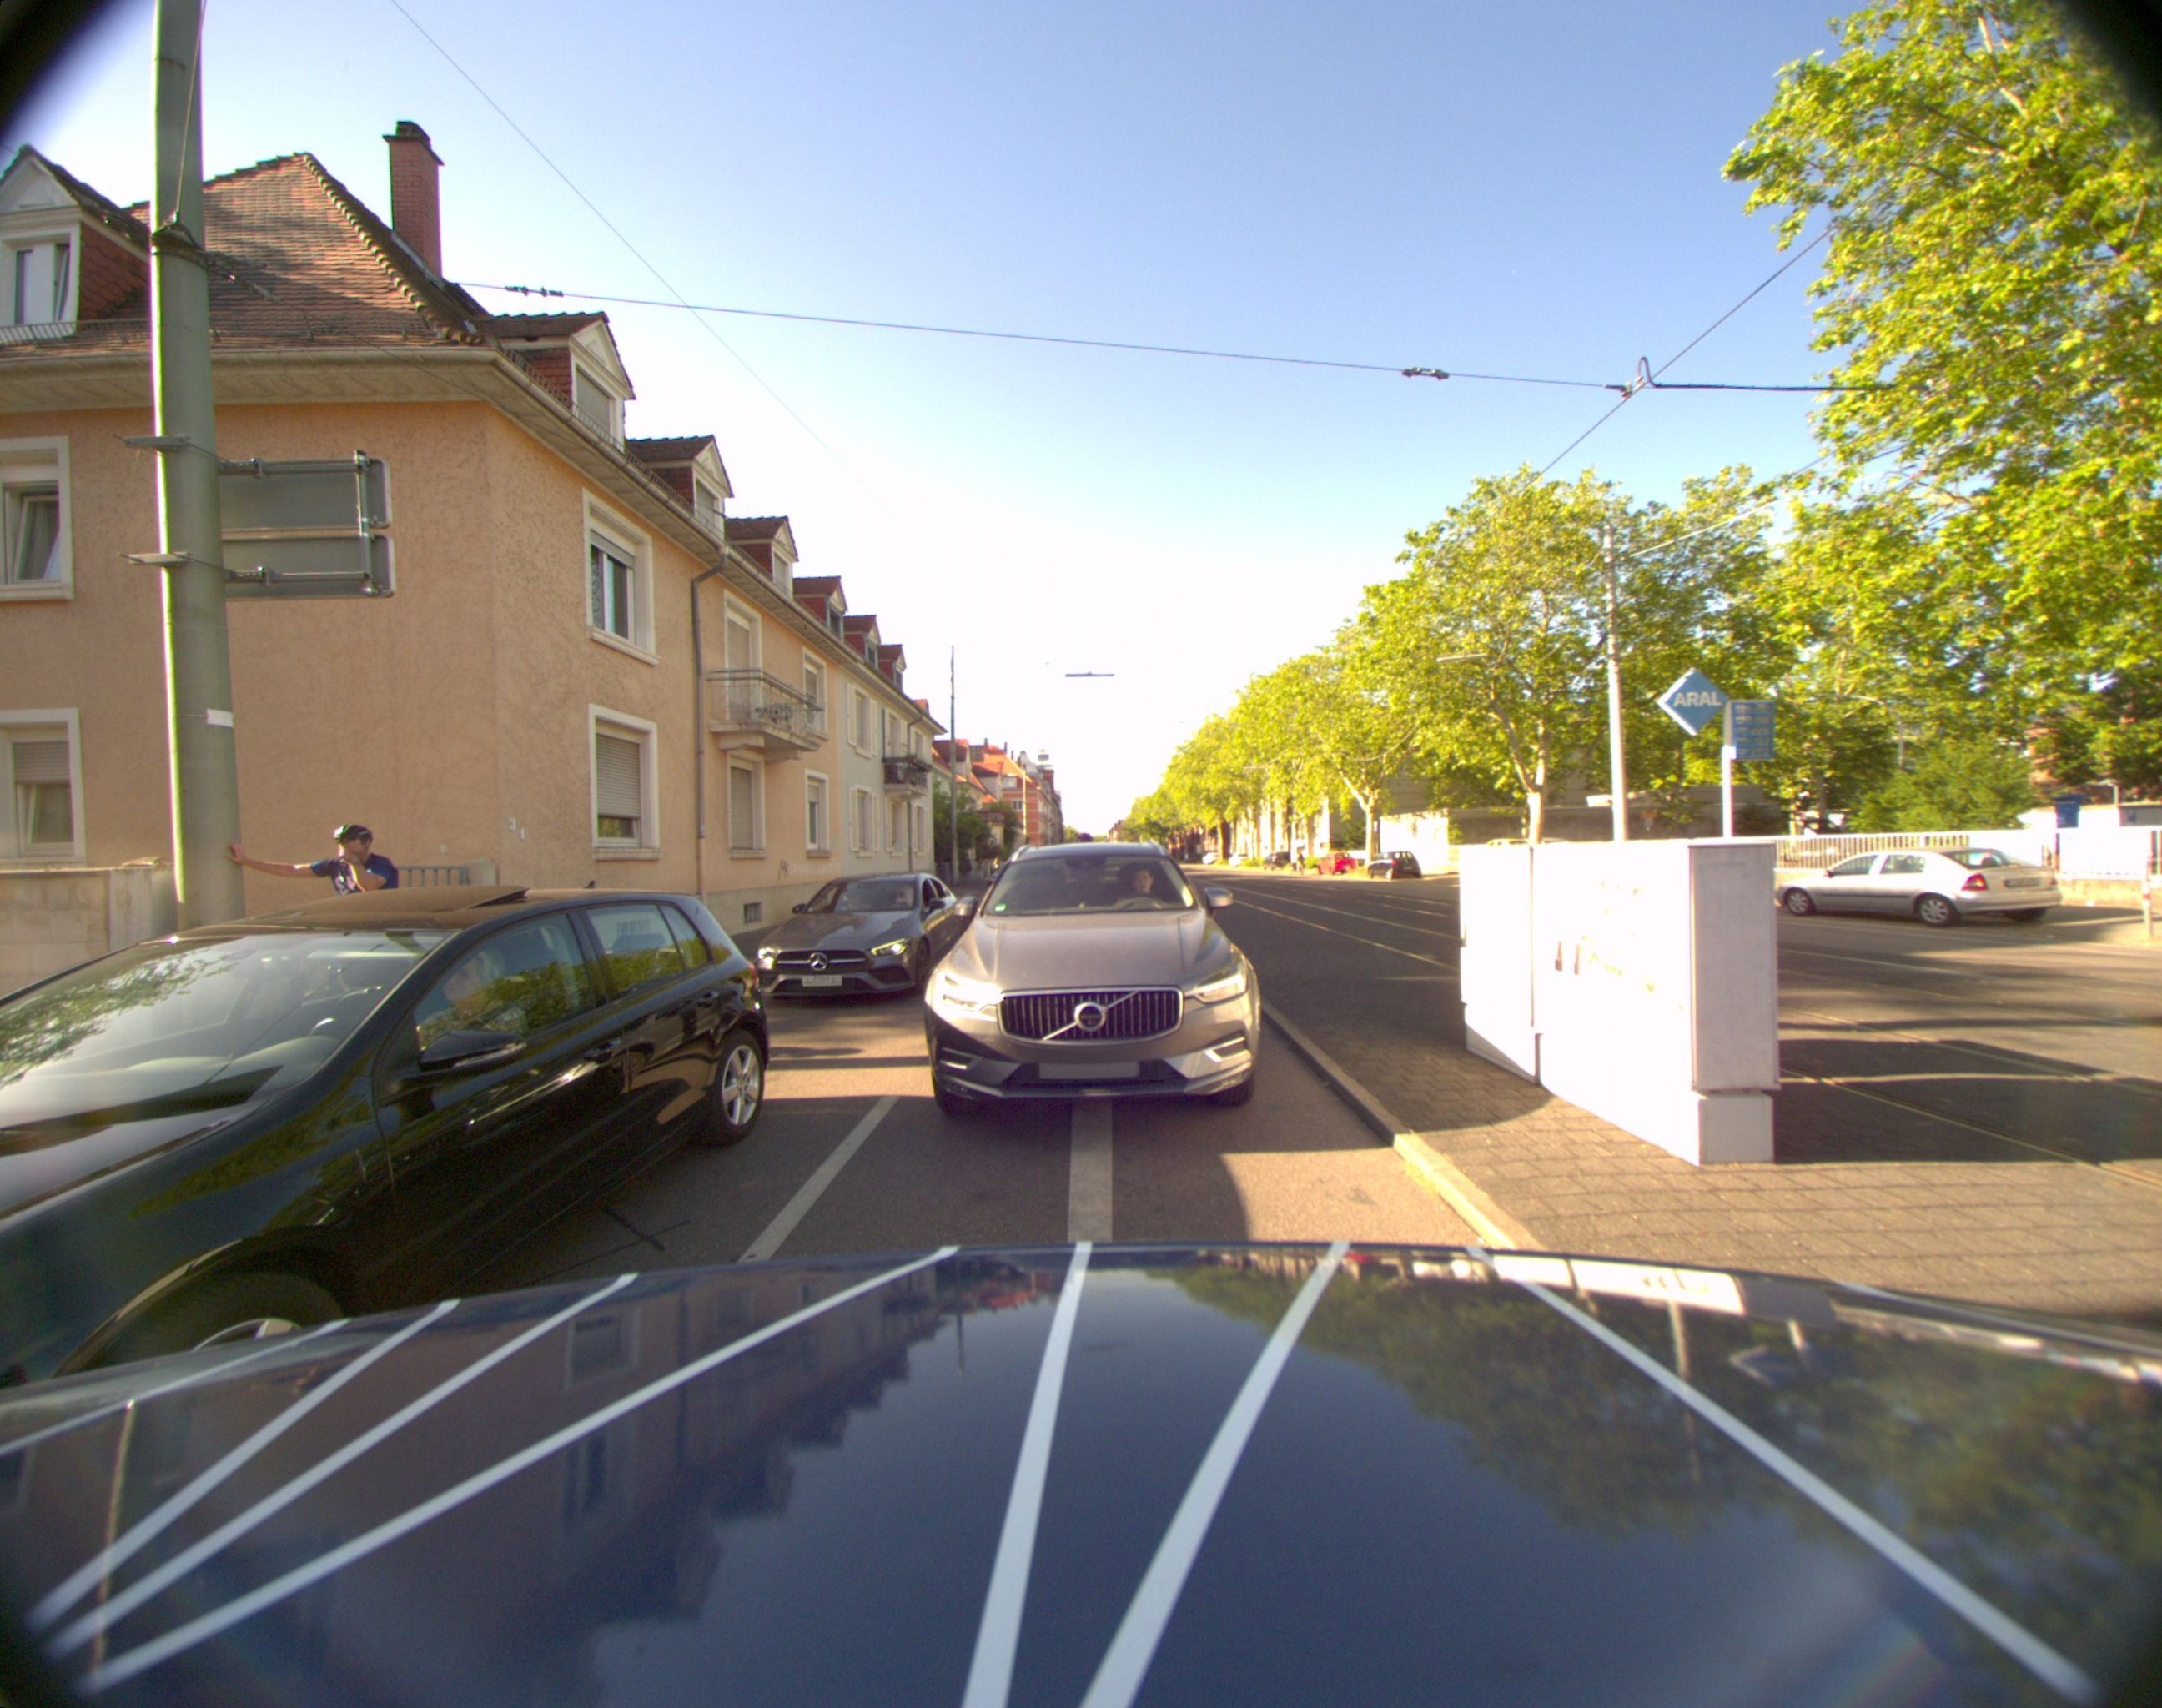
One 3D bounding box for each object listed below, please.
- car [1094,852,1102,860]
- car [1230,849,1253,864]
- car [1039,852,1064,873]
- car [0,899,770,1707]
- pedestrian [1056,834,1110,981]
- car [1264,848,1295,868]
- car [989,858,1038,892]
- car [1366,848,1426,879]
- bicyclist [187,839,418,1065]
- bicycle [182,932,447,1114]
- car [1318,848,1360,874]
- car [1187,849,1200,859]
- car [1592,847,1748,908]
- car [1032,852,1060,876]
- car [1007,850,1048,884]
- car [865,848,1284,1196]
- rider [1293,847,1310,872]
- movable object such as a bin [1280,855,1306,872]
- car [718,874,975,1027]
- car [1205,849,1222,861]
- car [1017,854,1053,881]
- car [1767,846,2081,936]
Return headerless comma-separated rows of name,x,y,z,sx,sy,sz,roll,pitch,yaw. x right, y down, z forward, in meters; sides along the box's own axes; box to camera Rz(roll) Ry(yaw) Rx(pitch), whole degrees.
car,3.745,0.385,169.080,1.851,1.640,3.999,-2,1,1
car,17.621,0.245,83.463,1.754,1.532,3.878,-4,1,3
car,-2.594,0.693,67.276,1.825,1.701,4.334,-2,1,1
car,-2.801,1.042,2.618,1.717,1.430,3.990,-2,1,1
pedestrian,0.031,0.675,9.866,0.609,1.832,0.599,-2,1,1
car,17.170,0.325,65.961,1.754,1.582,3.878,-4,1,3
car,-3.230,0.961,37.136,1.825,1.422,4.334,-2,1,1
car,16.837,0.447,40.812,1.723,1.436,3.769,-4,1,3
bicyclist,-6.185,0.749,6.098,1.021,1.684,0.729,2,0,-7
bicycle,-5.915,1.245,6.009,0.556,1.069,1.624,2,0,-7
car,16.934,0.448,50.054,1.661,1.486,3.377,-4,1,3
car,18.556,0.059,125.553,1.661,1.452,3.730,-4,1,3
car,16.361,0.601,21.360,1.619,1.436,3.606,-4,1,3
car,-2.781,0.771,60.909,1.825,1.701,4.334,-2,1,1
car,-2.906,0.687,42.390,1.825,1.701,4.334,-2,1,1
car,0.121,0.796,5.775,1.924,1.579,4.387,-2,1,4
rider,14.890,0.377,51.363,0.725,1.639,1.106,-2,1,-4
movable object such as a bin,14.679,0.637,52.687,1.178,1.097,1.834,-2,1,-4
car,-2.682,1.036,9.907,1.825,1.422,4.491,-2,-1,1
car,17.576,0.101,100.677,1.661,1.452,3.730,-4,1,3
car,-2.789,0.796,47.047,1.825,1.424,4.334,-2,1,1
car,16.200,0.629,14.973,1.687,1.358,3.989,-6,0,1
